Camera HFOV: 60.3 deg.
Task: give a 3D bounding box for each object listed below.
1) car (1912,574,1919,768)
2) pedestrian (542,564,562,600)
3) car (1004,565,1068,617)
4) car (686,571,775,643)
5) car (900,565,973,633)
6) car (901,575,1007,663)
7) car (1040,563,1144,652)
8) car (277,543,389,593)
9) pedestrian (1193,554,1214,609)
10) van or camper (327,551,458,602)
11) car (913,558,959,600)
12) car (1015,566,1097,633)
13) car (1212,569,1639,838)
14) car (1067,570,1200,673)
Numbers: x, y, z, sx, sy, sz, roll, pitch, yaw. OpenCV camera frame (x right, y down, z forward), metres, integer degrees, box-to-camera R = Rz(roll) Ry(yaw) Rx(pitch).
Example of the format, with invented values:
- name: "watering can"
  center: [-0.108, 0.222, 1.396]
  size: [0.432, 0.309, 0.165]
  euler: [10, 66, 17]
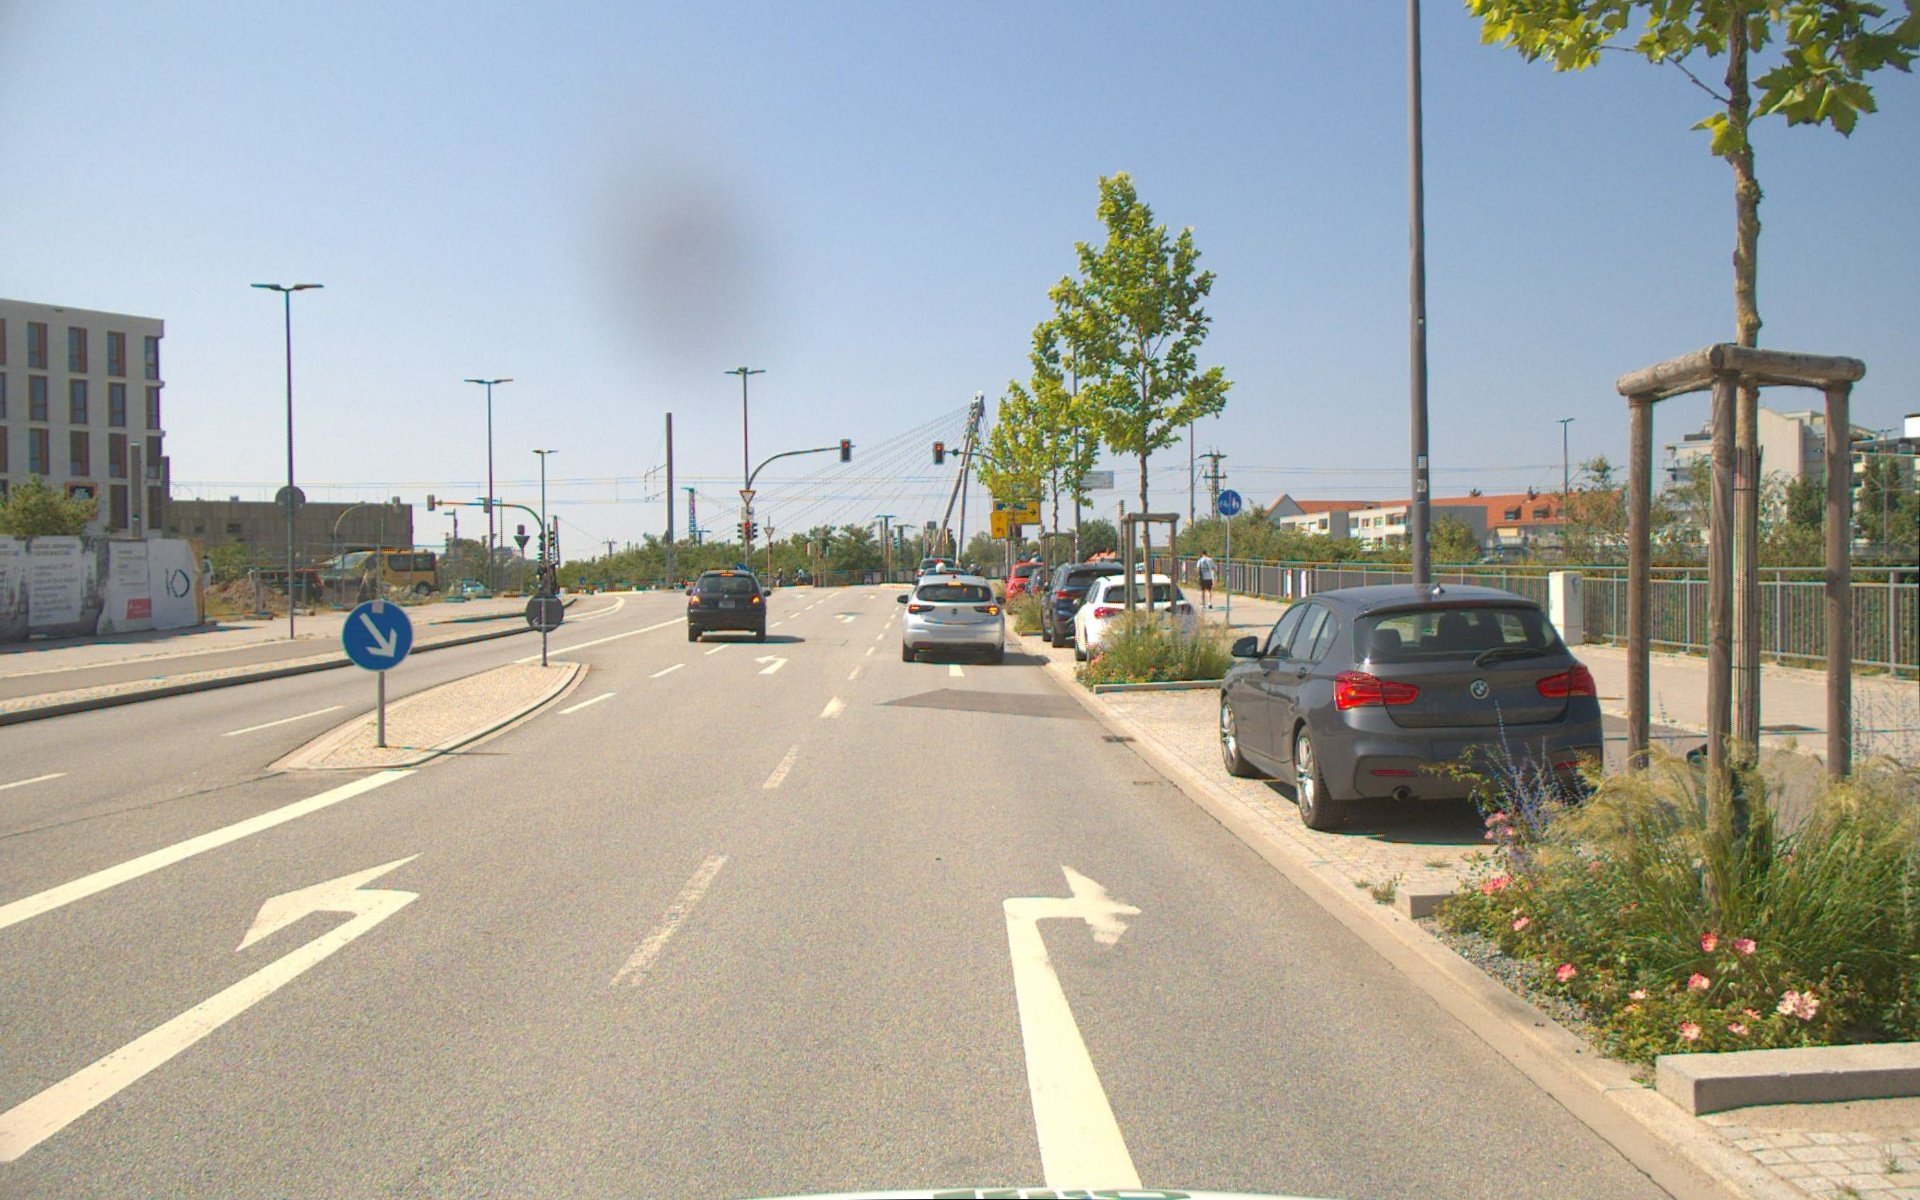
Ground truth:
- name: "car"
  center: [3.240, 0.624, 2.030]
  size: [1.670, 1.488, 3.951]
  euler: [-2, -1, -3]
- name: "pedestrian"
  center: [-19.466, -0.864, 78.877]
  size: [0.828, 1.675, 0.827]
  euler: [0, 0, -6]
- name: "car"
  center: [2.329, -0.292, 51.658]
  size: [1.742, 1.530, 3.999]
  euler: [-1, 1, -1]
- name: "car"
  center: [-4.833, 0.127, 35.206]
  size: [1.587, 1.441, 3.725]
  euler: [0, 1, -3]
- name: "car"
  center: [-0.593, -0.076, 41.493]
  size: [1.742, 1.596, 4.000]
  euler: [0, 1, -1]
- name: "car"
  center: [-0.128, 0.298, 29.444]
  size: [1.742, 1.467, 3.999]
  euler: [0, 1, -1]
- name: "car"
  center: [2.610, 0.114, 33.468]
  size: [1.785, 1.645, 3.611]
  euler: [-2, 1, 0]
- name: "car"
  center: [-26.254, -1.329, 69.348]
  size: [1.961, 2.049, 3.983]
  euler: [1, 1, 37]
- name: "pedestrian"
  center: [7.259, -0.545, 49.301]
  size: [0.522, 1.603, 0.523]
  euler: [1, -1, -1]
- name: "van or camper"
  center: [-23.140, -0.918, 67.562]
  size: [1.964, 1.930, 4.690]
  euler: [0, -1, 41]
- name: "car"
  center: [-0.947, -0.865, 65.585]
  size: [1.742, 1.596, 4.000]
  euler: [0, 1, -1]
- name: "car"
  center: [2.457, -0.038, 43.083]
  size: [1.742, 1.529, 3.999]
  euler: [-5, 1, -1]
- name: "car"
  center: [2.899, 0.581, 11.275]
  size: [1.669, 1.426, 4.269]
  euler: [-2, 0, 0]
- name: "car"
  center: [2.747, 0.297, 26.962]
  size: [1.662, 1.501, 4.205]
  euler: [-2, 1, 0]
